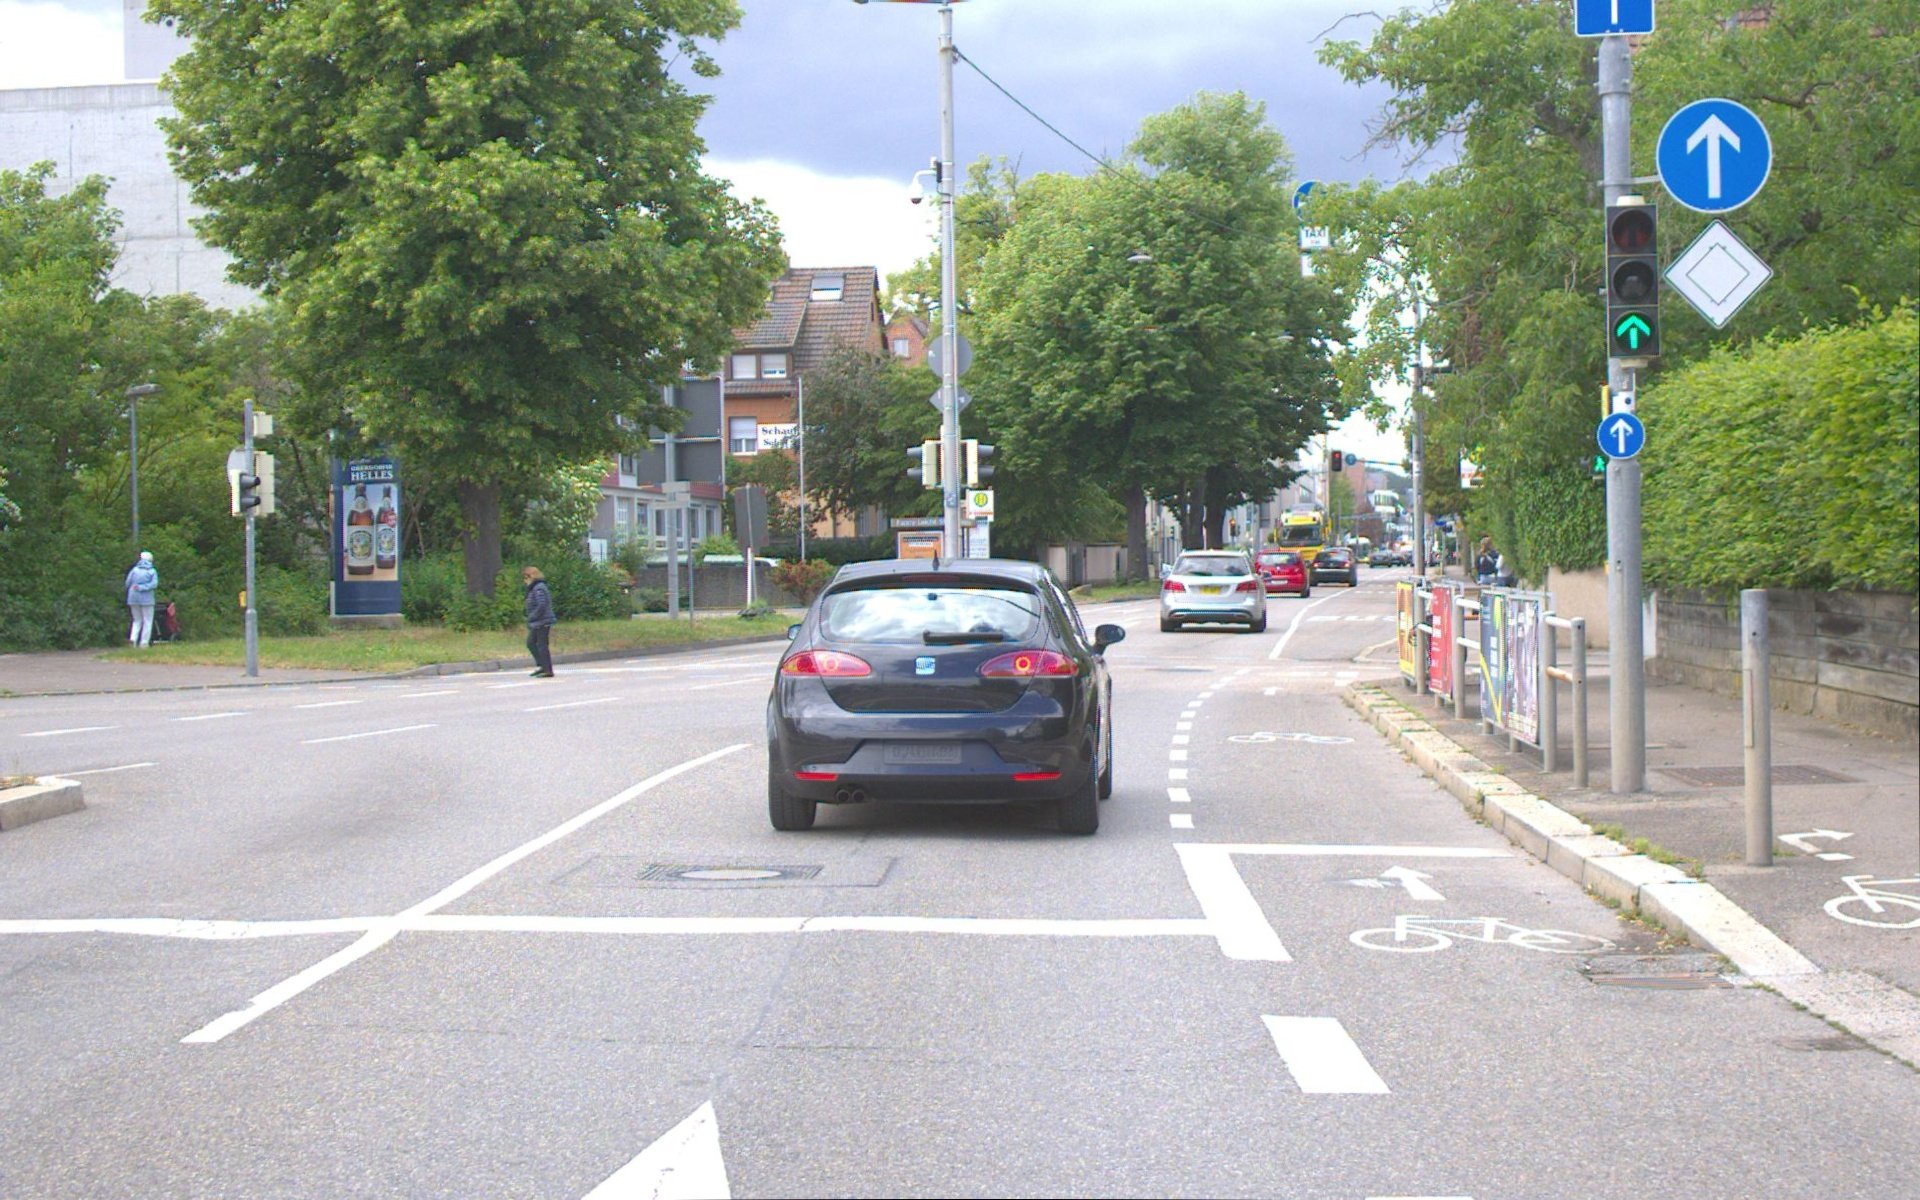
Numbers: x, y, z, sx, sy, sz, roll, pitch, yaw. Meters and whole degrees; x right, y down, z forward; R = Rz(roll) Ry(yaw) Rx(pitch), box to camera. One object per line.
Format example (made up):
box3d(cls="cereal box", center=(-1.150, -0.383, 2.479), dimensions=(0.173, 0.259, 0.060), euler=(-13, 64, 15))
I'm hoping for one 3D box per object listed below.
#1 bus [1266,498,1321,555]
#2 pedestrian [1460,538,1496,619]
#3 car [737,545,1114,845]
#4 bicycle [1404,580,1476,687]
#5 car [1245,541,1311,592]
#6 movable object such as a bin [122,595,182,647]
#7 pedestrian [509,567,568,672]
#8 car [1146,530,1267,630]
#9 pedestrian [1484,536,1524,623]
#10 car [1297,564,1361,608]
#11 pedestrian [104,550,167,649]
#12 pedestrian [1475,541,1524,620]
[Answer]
box3d(cls="bus", center=(18.816, -4.149, 193.886), dimensions=(2.869, 3.125, 6.396), euler=(-1, 1, 7))
box3d(cls="pedestrian", center=(9.958, -0.414, 66.138), dimensions=(0.550, 1.512, 0.361), euler=(-3, 1, 17))
box3d(cls="car", center=(-0.091, 0.444, 18.995), dimensions=(1.759, 1.444, 3.714), euler=(1, 1, 4))
box3d(cls="bicycle", center=(4.770, 0.321, 34.187), dimensions=(0.628, 1.025, 1.504), euler=(-1, 1, 5))
box3d(cls="car", center=(9.760, -1.047, 105.616), dimensions=(1.942, 1.476, 4.252), euler=(-2, 1, 5))
box3d(cls="movable object such as a bin", center=(-12.689, 0.327, 53.980), dimensions=(0.655, 0.795, 0.897), euler=(-1, 1, 5))
box3d(cls="pedestrian", center=(-5.719, 0.255, 46.648), dimensions=(0.773, 1.402, 0.601), euler=(0, 1, -5))
box3d(cls="car", center=(4.505, -0.389, 62.366), dimensions=(1.819, 1.693, 4.252), euler=(-1, 1, 9))
box3d(cls="pedestrian", center=(9.969, -0.378, 63.013), dimensions=(0.543, 1.550, 0.471), euler=(-5, 1, -1))
box3d(cls="car", center=(14.636, -0.568, 136.256), dimensions=(1.995, 1.678, 3.998), euler=(-1, 1, 13))
box3d(cls="pedestrian", center=(-12.763, -0.013, 53.227), dimensions=(0.655, 1.517, 0.923), euler=(-1, 1, 5))
box3d(cls="pedestrian", center=(10.111, -0.365, 64.458), dimensions=(0.511, 1.422, 0.621), euler=(-5, 1, -44))
